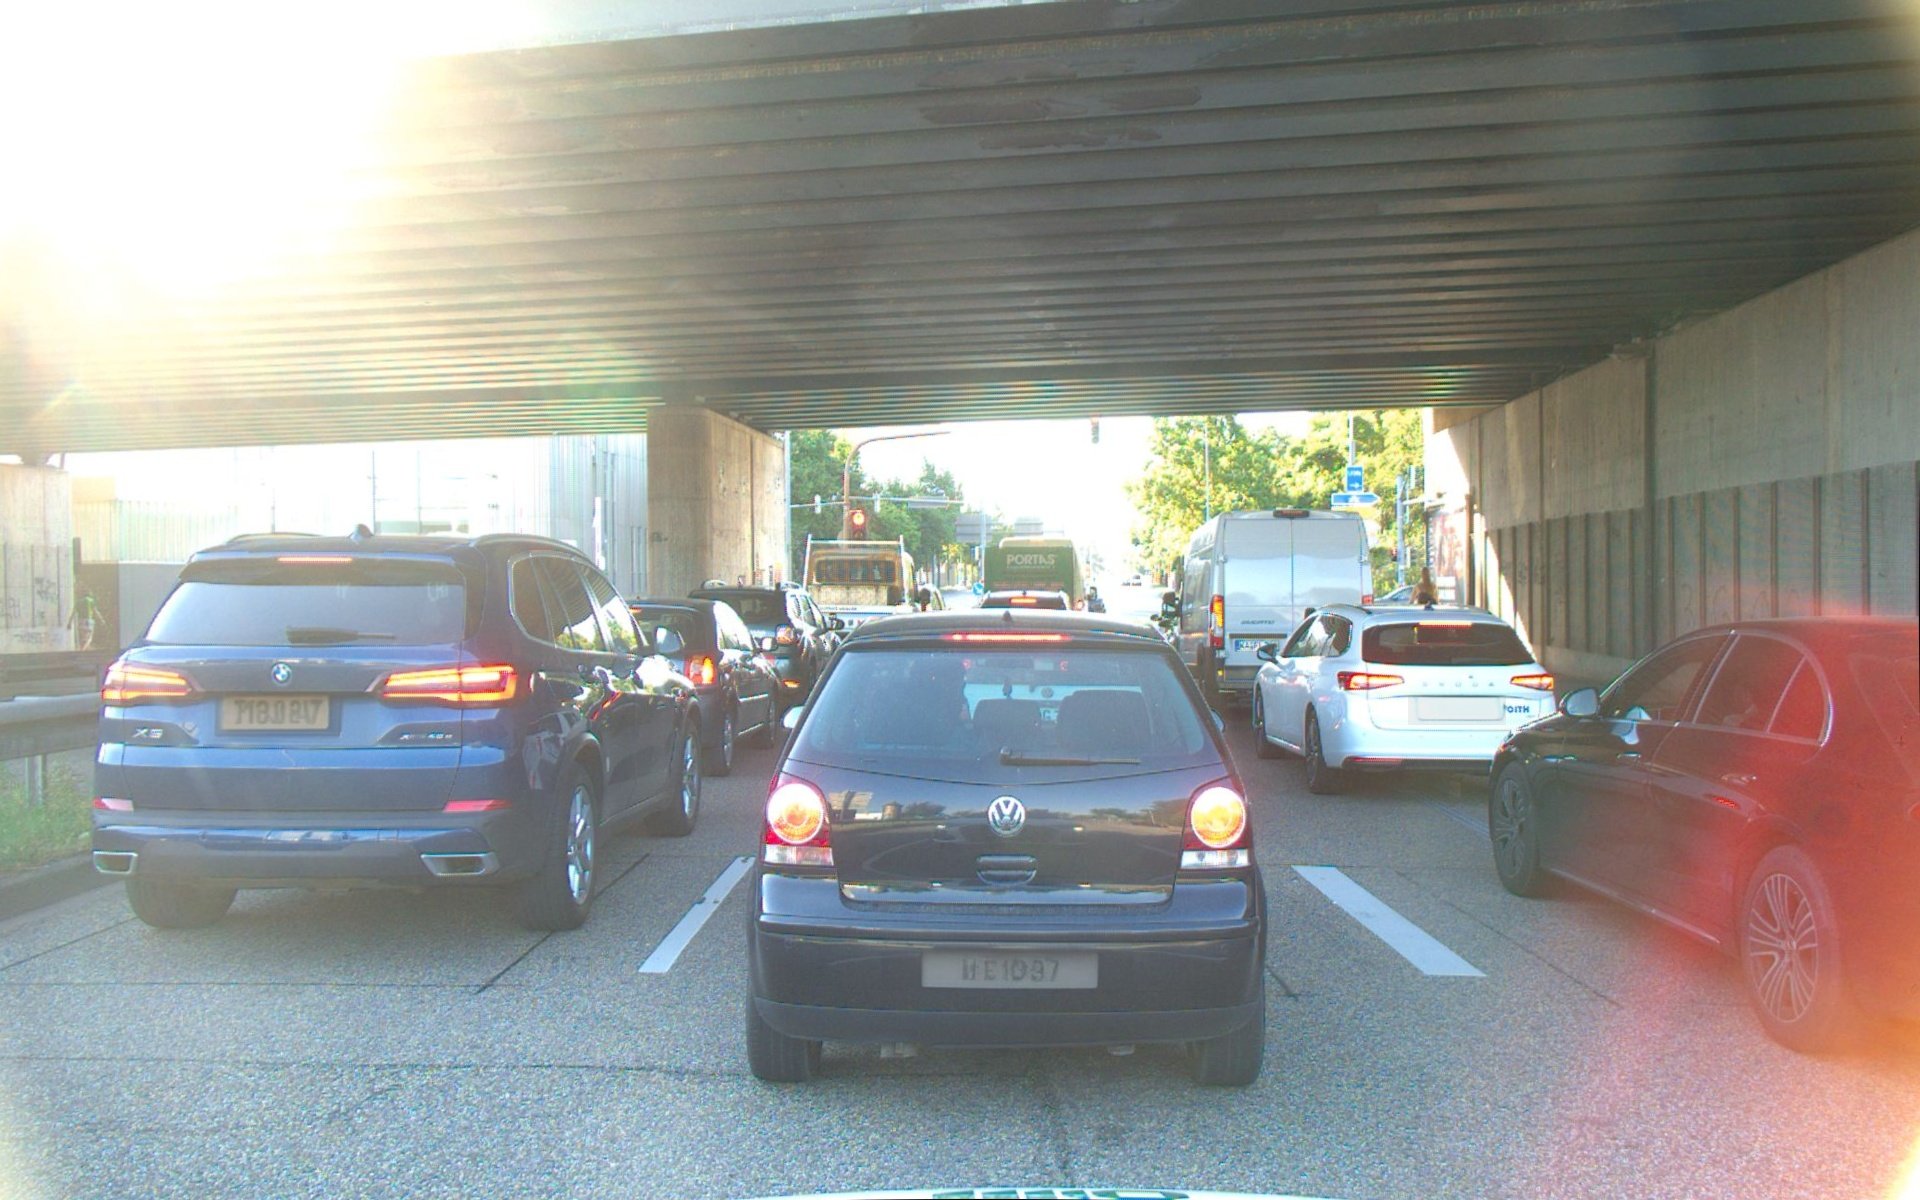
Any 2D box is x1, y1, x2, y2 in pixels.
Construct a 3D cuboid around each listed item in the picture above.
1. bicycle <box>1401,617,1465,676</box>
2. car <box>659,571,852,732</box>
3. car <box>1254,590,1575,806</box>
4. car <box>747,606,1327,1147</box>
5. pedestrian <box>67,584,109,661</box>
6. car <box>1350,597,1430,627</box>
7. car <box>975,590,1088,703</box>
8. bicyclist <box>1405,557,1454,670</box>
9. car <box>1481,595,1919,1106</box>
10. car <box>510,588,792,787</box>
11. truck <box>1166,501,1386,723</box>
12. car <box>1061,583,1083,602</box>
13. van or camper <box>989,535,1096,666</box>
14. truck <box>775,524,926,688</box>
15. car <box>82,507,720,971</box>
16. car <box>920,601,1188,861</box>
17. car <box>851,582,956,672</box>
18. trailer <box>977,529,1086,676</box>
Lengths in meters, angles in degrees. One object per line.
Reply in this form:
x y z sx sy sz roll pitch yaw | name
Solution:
8.205 0.794 28.797 0.566 0.980 2.888 -1 -1 6 | bicycle
-2.493 0.615 21.127 1.803 1.749 4.000 -3 -1 1 | car
3.634 0.737 13.922 1.735 1.521 3.833 -2 -1 2 | car
0.165 0.766 6.338 1.550 1.433 3.830 0 -1 -2 | car
-22.134 0.573 41.977 0.679 1.937 0.665 0 -1 4 | pedestrian
16.218 0.449 62.414 2.763 1.100 1.219 0 -1 6 | car
1.064 0.669 24.660 1.548 1.559 3.833 0 -1 3 | car
8.213 0.238 28.969 0.667 1.940 0.834 0 -1 6 | bicyclist
3.728 0.748 6.829 1.705 1.480 4.606 0 1 0 | car
-2.640 0.715 14.962 1.804 1.465 3.674 -3 -1 -1 | car
4.024 0.163 21.845 2.068 2.563 4.401 -2 -1 1 | truck
8.447 -0.543 125.132 1.312 1.304 2.892 -3 -1 -1 | car
1.895 0.041 36.180 1.951 2.616 5.922 0 -1 7 | van or camper
-1.799 0.132 29.069 1.985 2.601 5.539 0 -1 3 | truck
-2.482 0.563 8.613 1.792 1.769 4.461 -1 -1 0 | car
0.604 0.781 11.563 1.515 1.448 3.418 -3 0 1 | car
-1.238 0.621 37.939 1.951 1.934 4.002 0 -1 4 | car
1.379 0.070 30.600 1.825 2.508 3.833 -2 -1 4 | trailer
